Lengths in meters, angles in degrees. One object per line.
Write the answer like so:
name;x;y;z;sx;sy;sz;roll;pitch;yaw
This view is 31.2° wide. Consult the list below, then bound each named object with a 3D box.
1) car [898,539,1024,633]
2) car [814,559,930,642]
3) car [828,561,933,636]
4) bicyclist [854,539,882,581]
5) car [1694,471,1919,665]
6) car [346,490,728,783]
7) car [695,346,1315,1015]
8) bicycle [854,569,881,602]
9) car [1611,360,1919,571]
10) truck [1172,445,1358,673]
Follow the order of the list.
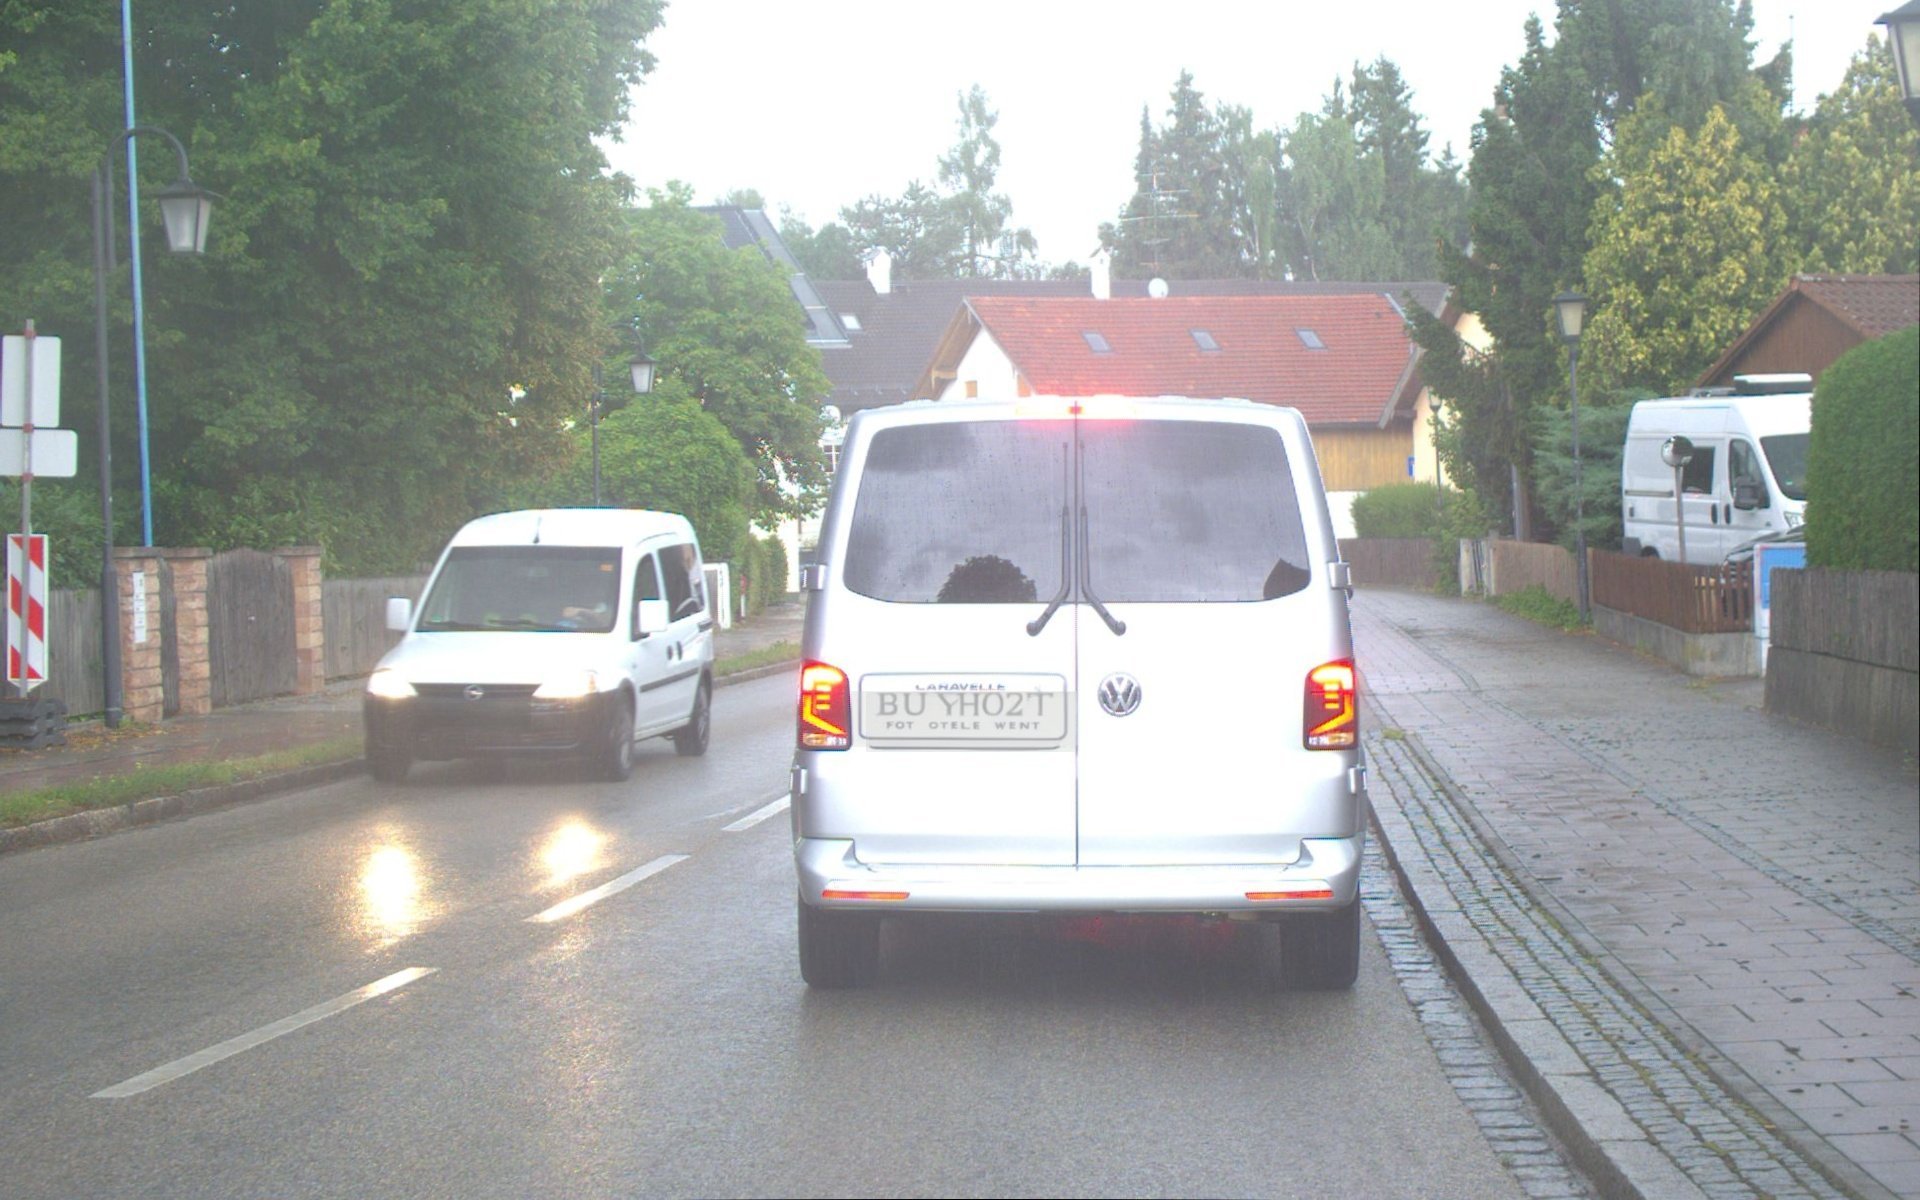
car;0.051;-0.219;54.599;1.618;1.439;3.670;0;0;6
car;-1.546;0.003;61.617;1.618;1.439;3.670;0;0;6
car;-1.544;-0.038;67.775;1.618;1.439;3.670;0;0;6
bicyclist;-2.270;-0.990;84.810;0.587;1.018;1.060;0;1;4
car;9.313;-0.350;33.164;4.093;1.745;1.695;-1;3;1
car;-2.722;0.209;23.065;1.640;1.759;4.330;1;0;5
car;0.333;0.227;12.438;1.801;2.007;3.999;1;0;7
bicycle;-2.281;-0.369;84.888;0.456;0.796;1.977;0;1;4
car;9.077;-1.427;38.383;1.993;2.166;4.954;1;0;-9
truck;4.363;-0.575;49.799;2.476;3.063;6.295;1;0;4
